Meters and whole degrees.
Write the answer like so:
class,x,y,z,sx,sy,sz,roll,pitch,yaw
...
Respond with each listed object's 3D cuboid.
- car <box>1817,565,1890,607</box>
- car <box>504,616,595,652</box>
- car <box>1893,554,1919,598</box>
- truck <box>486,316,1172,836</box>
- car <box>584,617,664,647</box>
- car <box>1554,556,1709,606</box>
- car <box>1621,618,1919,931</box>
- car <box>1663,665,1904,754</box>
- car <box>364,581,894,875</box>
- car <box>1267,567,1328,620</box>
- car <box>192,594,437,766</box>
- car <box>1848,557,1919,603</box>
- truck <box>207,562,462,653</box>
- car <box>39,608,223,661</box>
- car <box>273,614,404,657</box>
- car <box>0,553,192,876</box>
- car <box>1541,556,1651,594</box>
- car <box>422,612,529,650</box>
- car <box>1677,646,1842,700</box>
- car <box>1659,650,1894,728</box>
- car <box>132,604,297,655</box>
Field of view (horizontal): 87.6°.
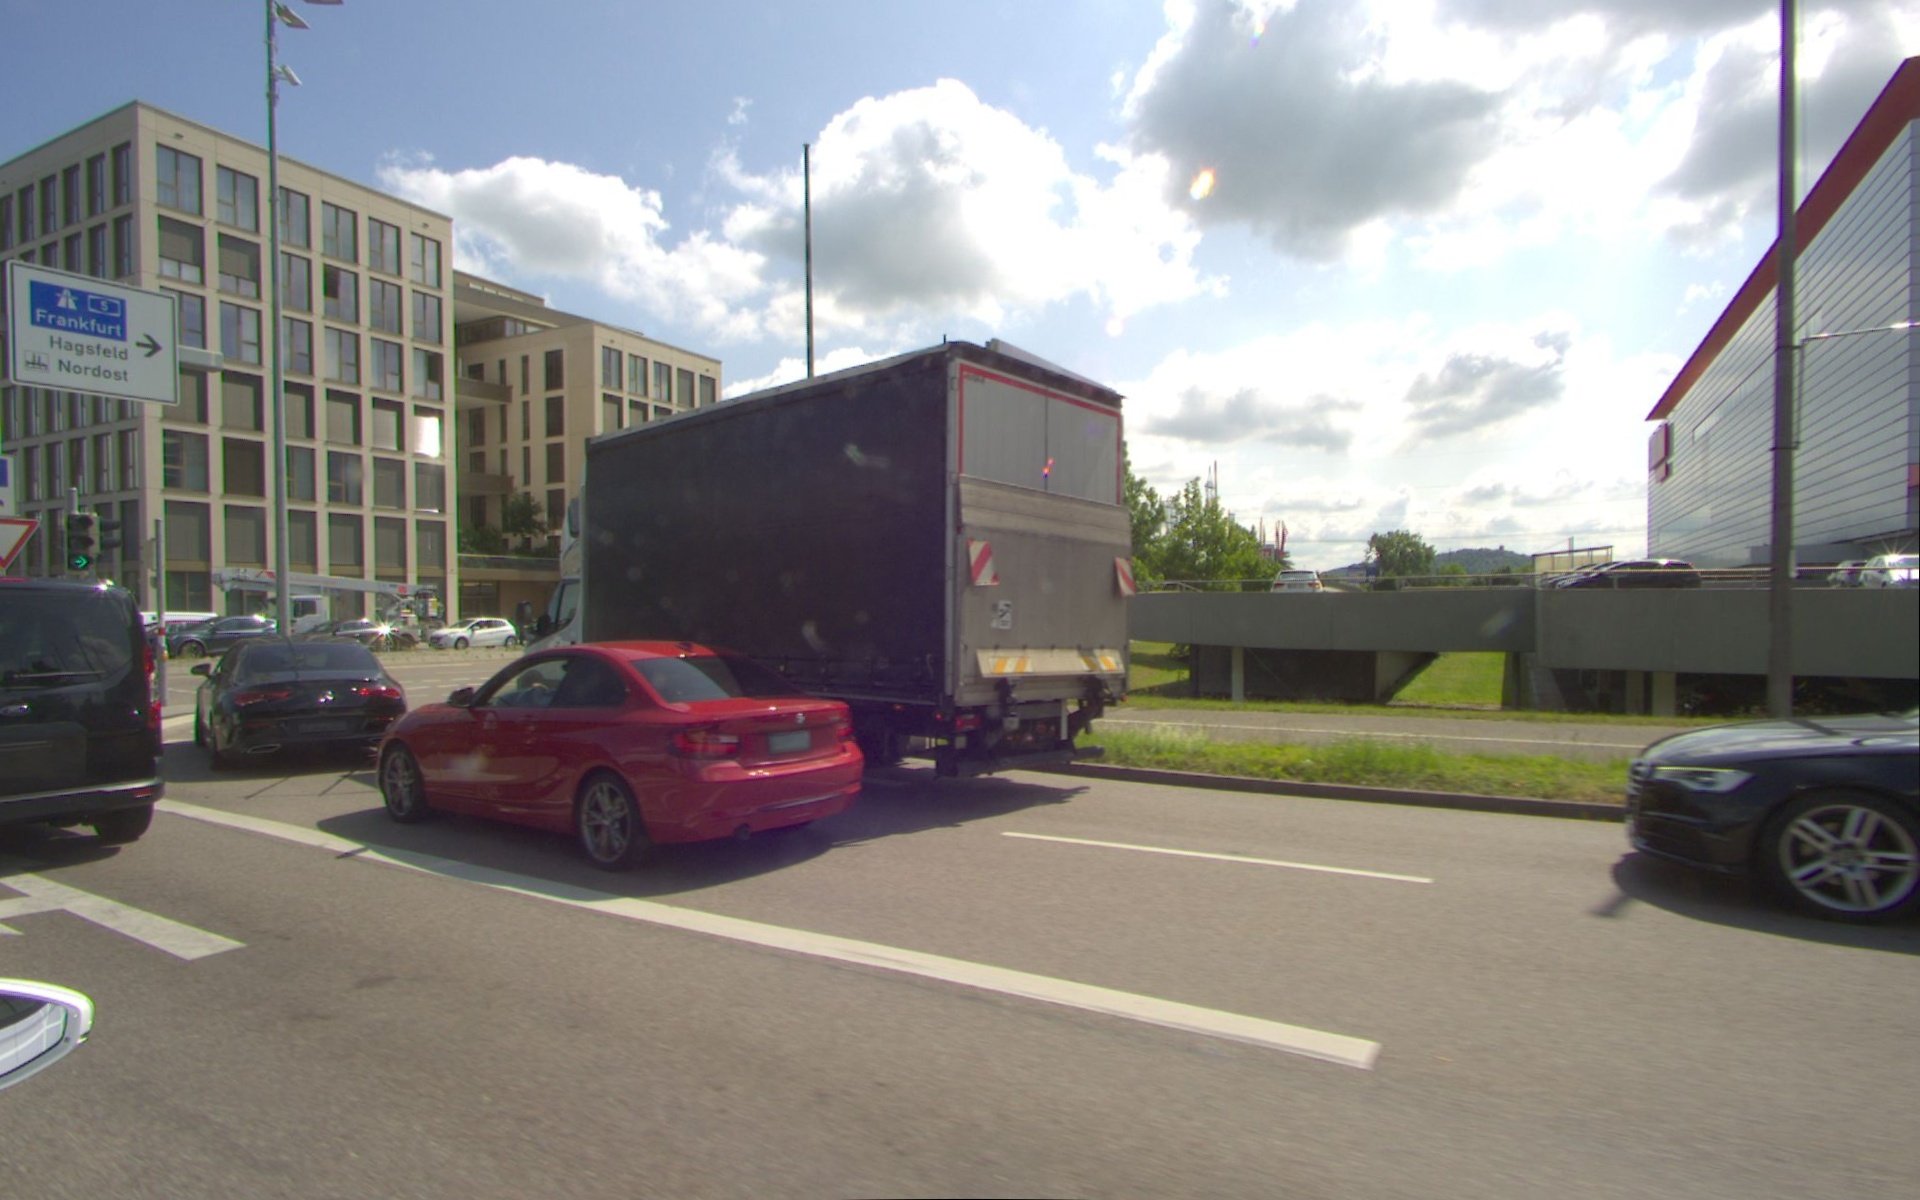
class,x,y,z,sx,sy,sz,roll,pitch,yaw
car,42.627,-0.624,47.865,1.536,1.847,4.406,-1,-1,28
car,-22.130,1.857,54.173,1.801,1.861,4.427,-1,-2,30
car,38.654,-0.968,39.245,1.925,1.626,4.406,-1,-2,28
truck,-2.215,-0.008,12.081,8.972,4.078,3.196,-2,-3,42
car,-19.568,1.876,58.494,1.801,1.643,4.427,-2,-2,30
car,23.874,-0.630,35.819,4.352,1.626,1.949,-1,-1,26
car,6.040,0.830,4.906,4.613,1.497,1.770,-1,-1,33
car,18.831,2.452,23.164,3.938,1.772,1.992,-1,-1,28
car,-2.692,0.827,7.730,4.166,1.676,1.853,-2,-3,37
car,11.668,-0.172,34.450,1.849,1.606,4.157,-1,-2,20
car,-7.846,0.935,11.989,1.846,1.675,4.184,6,-6,-40
car,33.647,-0.680,35.739,1.925,1.490,4.406,-1,-2,28
truck,-27.207,0.494,44.365,2.632,3.600,9.757,-1,-2,25
car,-30.919,1.305,37.542,1.967,1.861,4.979,-1,-2,24
car,-25.230,1.453,40.768,1.801,1.647,4.193,-2,-2,30
car,-7.349,0.721,7.112,3.944,1.929,1.819,-1,-1,33
car,30.812,-1.162,48.662,4.355,1.626,1.947,-1,-1,28
car,-22.304,1.443,46.221,1.800,1.647,4.196,-1,-2,28
car,28.588,2.568,35.990,4.296,1.772,1.992,-1,-1,28
car,20.589,2.202,25.524,4.296,1.772,1.992,-1,-1,28
car,-25.348,1.037,34.226,1.798,1.647,4.200,-1,-2,24
